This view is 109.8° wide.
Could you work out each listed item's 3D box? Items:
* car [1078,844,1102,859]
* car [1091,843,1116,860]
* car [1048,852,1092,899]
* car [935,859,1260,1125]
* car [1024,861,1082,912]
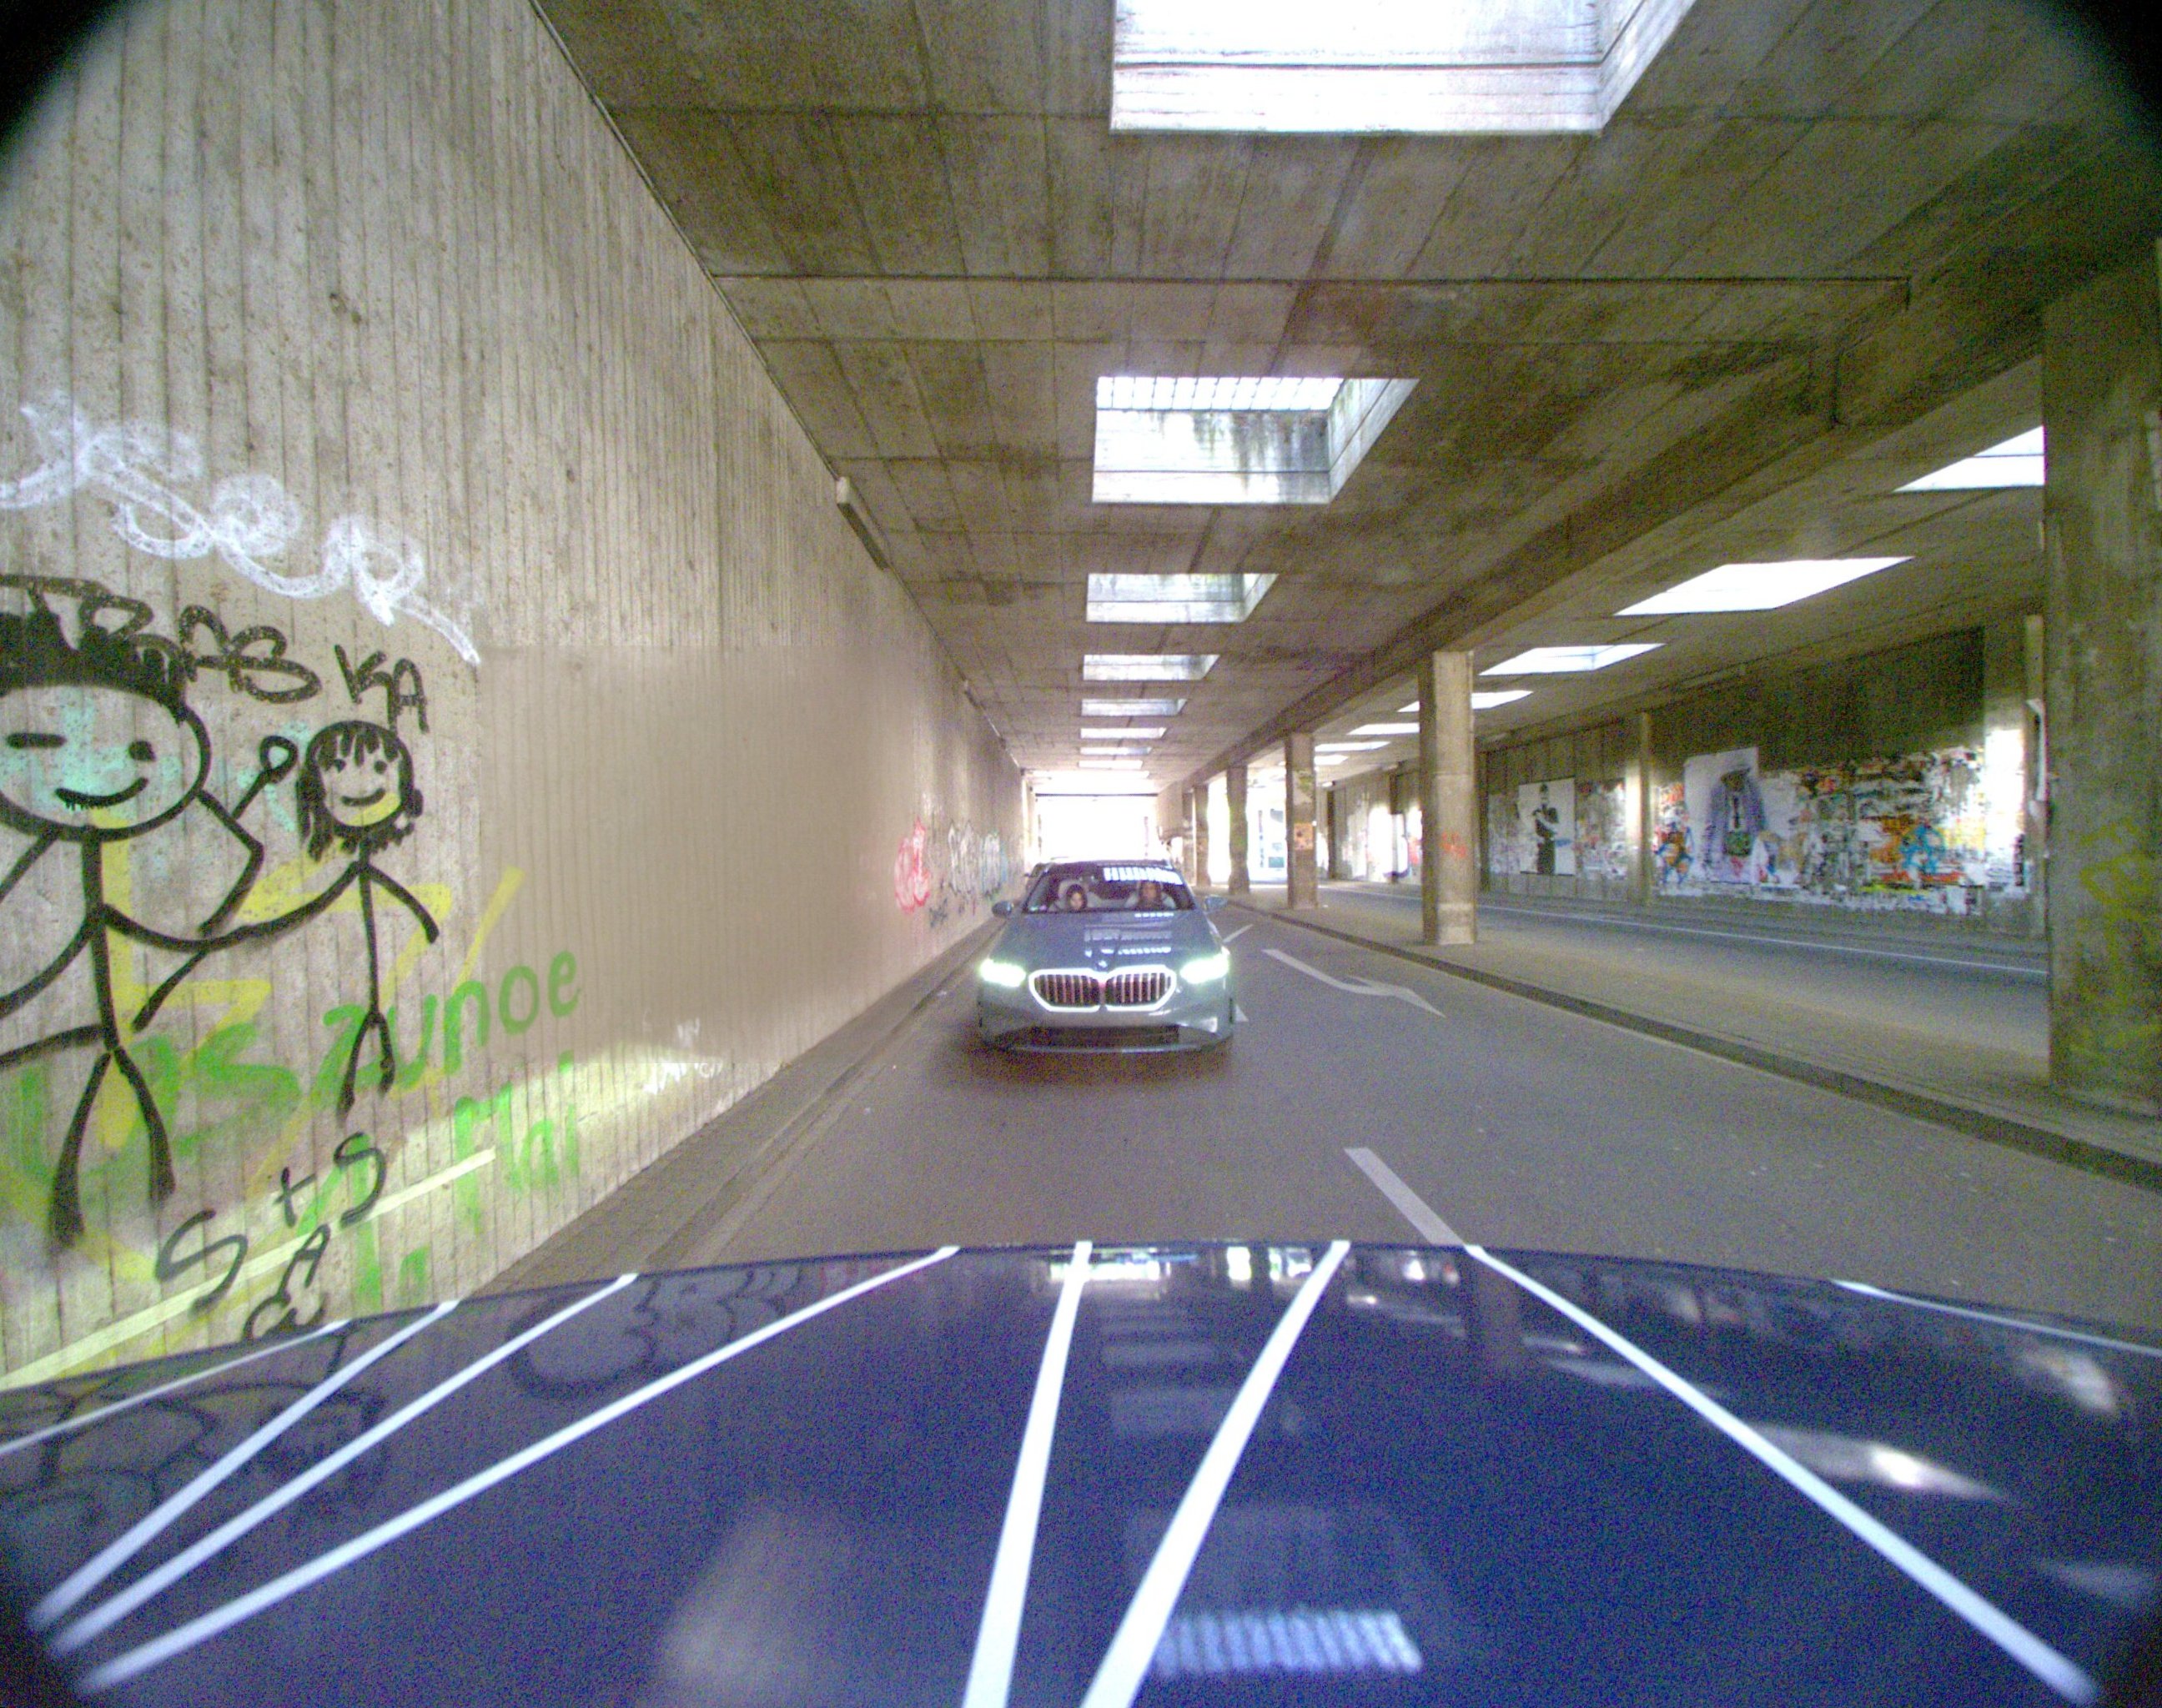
[{"bbox_3d":[1.198,-0.334,103.558,2.361,2.002,5.146,-1,0,-8],"label":"car"},{"bbox_3d":[2.853,-0.327,97.546,2.361,2.002,5.146,-1,0,-8],"label":"car"},{"bbox_3d":[-0.372,0.769,29.914,1.581,1.676,4.078,-2,0,1],"label":"car"},{"bbox_3d":[0.181,0.883,7.333,1.998,1.594,5.176,-1,0,2],"label":"car"},{"bbox_3d":[-0.795,0.950,23.907,1.593,1.387,3.833,-2,0,1],"label":"car"}]
